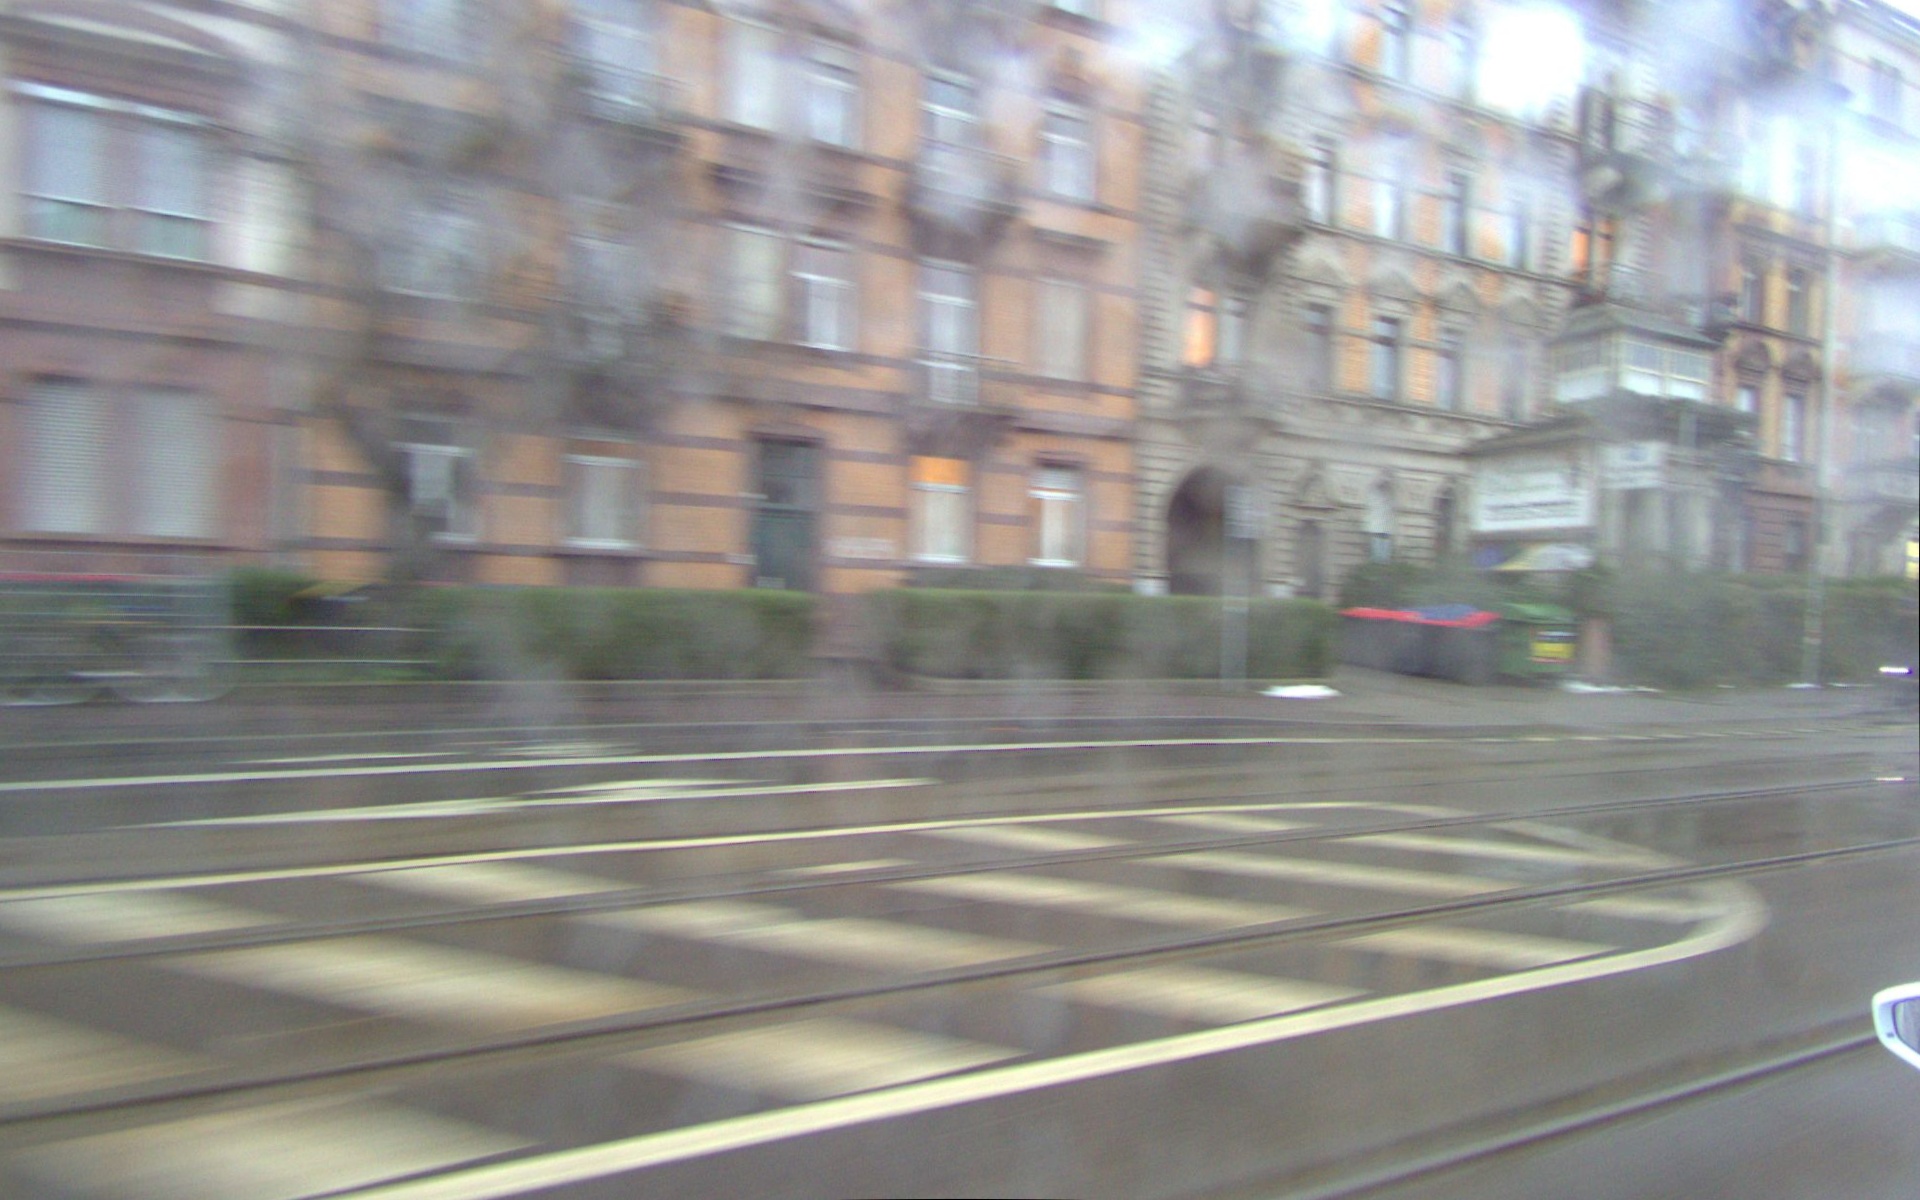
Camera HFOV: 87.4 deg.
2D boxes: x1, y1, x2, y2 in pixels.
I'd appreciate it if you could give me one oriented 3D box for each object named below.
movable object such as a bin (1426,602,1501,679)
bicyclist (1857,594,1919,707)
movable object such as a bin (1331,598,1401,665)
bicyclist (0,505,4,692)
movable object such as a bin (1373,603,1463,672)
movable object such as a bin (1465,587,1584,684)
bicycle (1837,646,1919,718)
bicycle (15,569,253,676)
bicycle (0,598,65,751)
[{"bbox_3d":[9.113,0.718,18.193,0.737,1.309,0.892,2,2,-26],"label":"movable object such as a bin"},{"bbox_3d":[14.219,0.750,15.147,0.755,1.638,0.682,2,2,-23],"label":"bicyclist"},{"bbox_3d":[8.207,0.628,20.316,0.763,1.261,1.006,2,2,-26],"label":"movable object such as a bin"},{"bbox_3d":[-7.391,0.001,6.941,0.930,1.382,0.702,2,3,-23],"label":"bicyclist"},{"bbox_3d":[8.755,0.707,19.225,0.933,1.224,1.180,2,2,-26],"label":"movable object such as a bin"},{"bbox_3d":[10.157,0.628,18.114,1.287,1.607,1.242,2,3,-19],"label":"movable object such as a bin"},{"bbox_3d":[14.247,1.237,15.189,1.906,0.985,0.677,2,2,-23],"label":"bicycle"},{"bbox_3d":[-8.412,0.242,10.304,1.823,1.020,0.415,2,2,-23],"label":"bicycle"},{"bbox_3d":[-7.469,0.488,6.938,1.777,1.020,0.680,2,2,-23],"label":"bicycle"}]
